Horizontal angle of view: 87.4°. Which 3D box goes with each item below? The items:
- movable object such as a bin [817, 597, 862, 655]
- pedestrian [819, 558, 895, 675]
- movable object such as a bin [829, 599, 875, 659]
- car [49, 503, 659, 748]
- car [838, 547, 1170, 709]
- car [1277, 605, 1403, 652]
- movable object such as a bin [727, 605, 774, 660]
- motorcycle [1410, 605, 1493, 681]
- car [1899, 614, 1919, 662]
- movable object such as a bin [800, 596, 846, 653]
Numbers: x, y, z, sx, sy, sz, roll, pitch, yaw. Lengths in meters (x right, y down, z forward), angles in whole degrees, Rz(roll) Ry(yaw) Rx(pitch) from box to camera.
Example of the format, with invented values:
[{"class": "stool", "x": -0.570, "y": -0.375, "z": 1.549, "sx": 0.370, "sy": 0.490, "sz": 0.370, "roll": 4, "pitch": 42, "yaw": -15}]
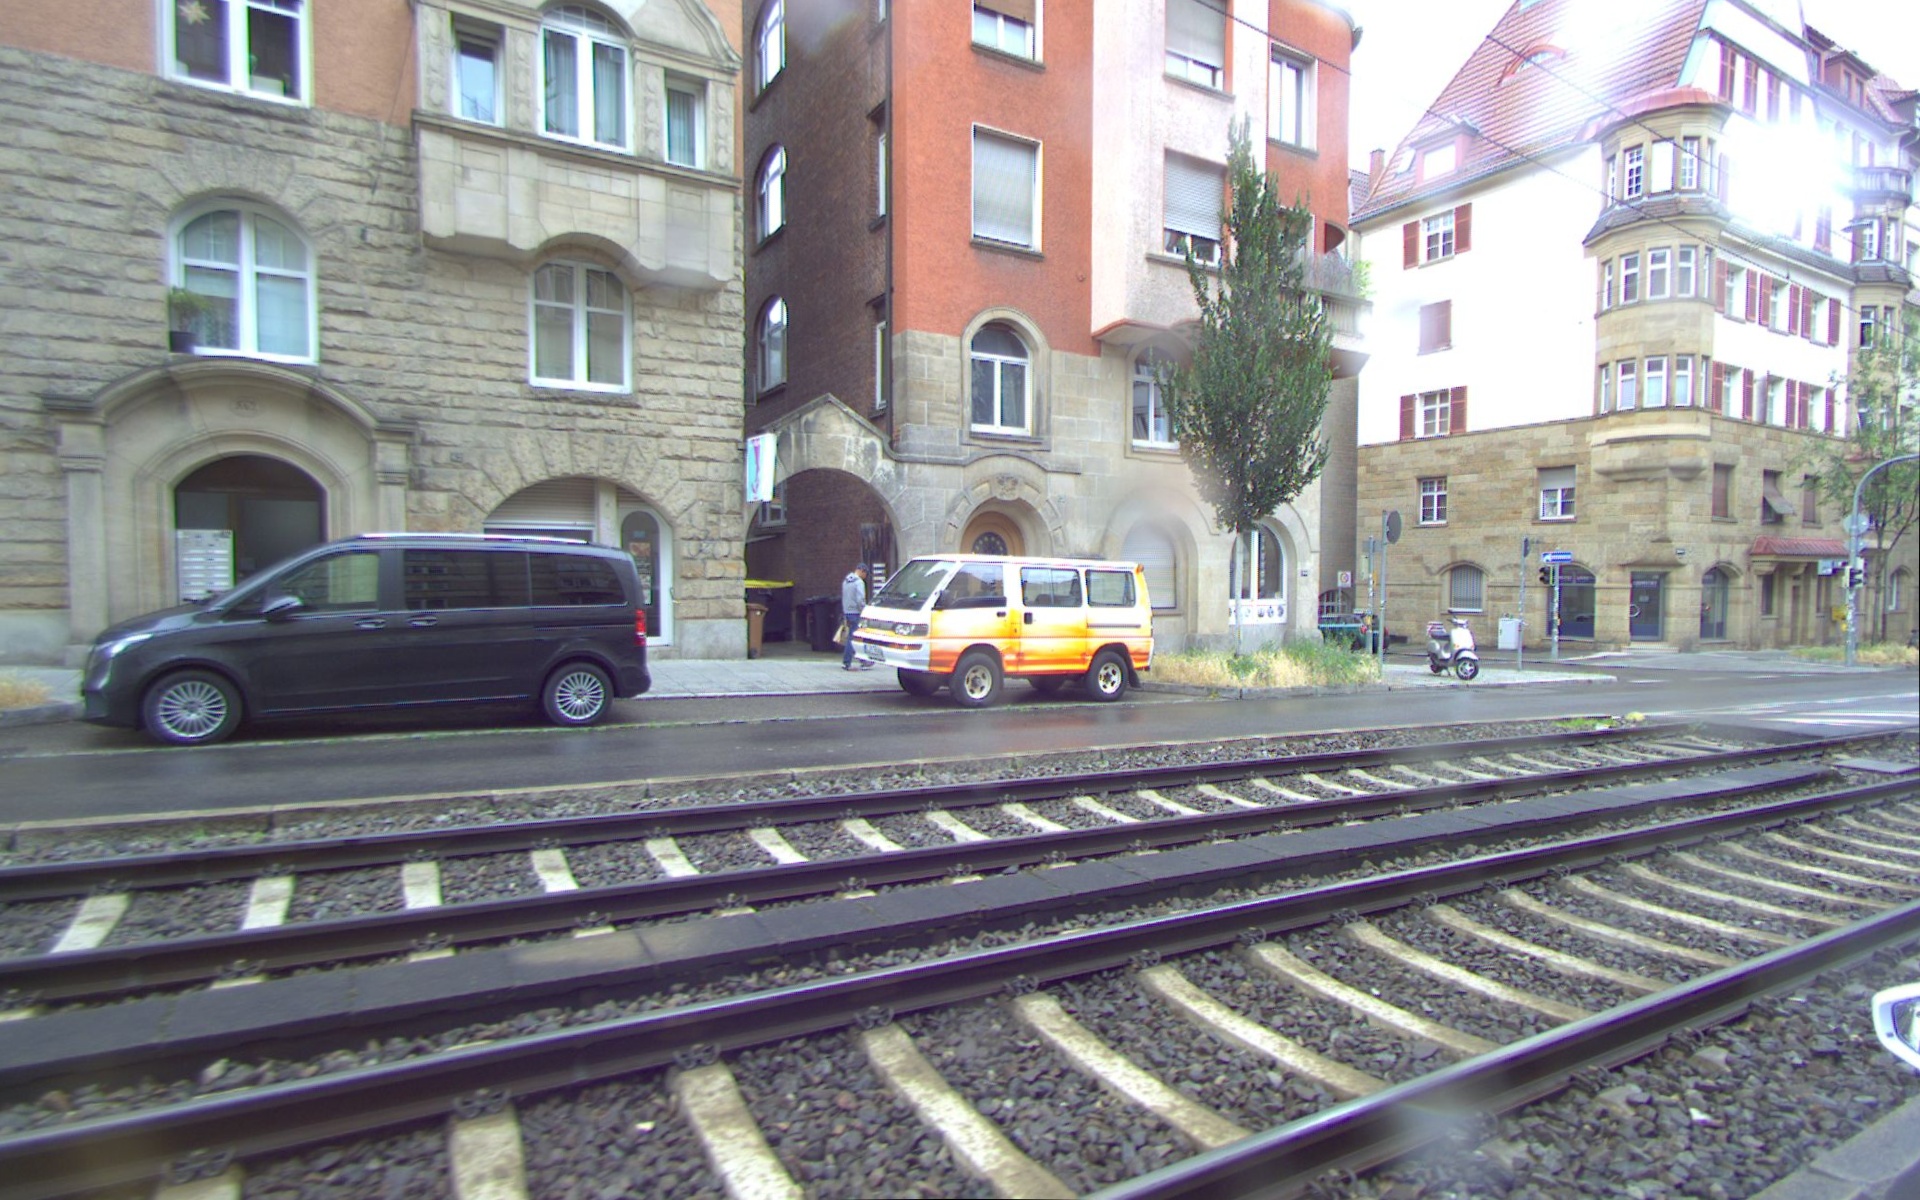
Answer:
[{"class": "movable object such as a bin", "x": -2.231, "y": 0.476, "z": 18.603, "sx": 0.648, "sy": 1.058, "sz": 0.545, "roll": 2, "pitch": 0, "yaw": -29}, {"class": "pedestrian", "x": -1.640, "y": 0.258, "z": 15.872, "sx": 0.882, "sy": 1.743, "sz": 0.713, "roll": 2, "pitch": 6, "yaw": -30}, {"class": "movable object such as a bin", "x": -1.953, "y": 0.523, "z": 18.116, "sx": 0.648, "sy": 1.058, "sz": 0.545, "roll": 2, "pitch": 0, "yaw": -29}, {"class": "car", "x": -5.687, "y": 0.263, "z": 10.082, "sx": 4.777, "sy": 1.956, "sz": 1.896, "roll": 2, "pitch": 0, "yaw": -31}, {"class": "car", "x": 0.682, "y": 0.392, "z": 14.049, "sx": 4.426, "sy": 1.956, "sz": 1.719, "roll": 2, "pitch": 0, "yaw": -32}, {"class": "car", "x": 13.978, "y": 1.032, "z": 37.152, "sx": 1.979, "sy": 1.595, "sz": 3.963, "roll": 2, "pitch": 0, "yaw": -33}, {"class": "movable object such as a bin", "x": -3.576, "y": 0.550, "z": 17.140, "sx": 0.647, "sy": 0.910, "sz": 0.544, "roll": 2, "pitch": 0, "yaw": -27}, {"class": "motorcycle", "x": 9.576, "y": 0.814, "z": 19.643, "sx": 0.752, "sy": 1.393, "sz": 1.785, "roll": 2, "pitch": 0, "yaw": 2}, {"class": "car", "x": 33.557, "y": 1.324, "z": 33.940, "sx": 4.130, "sy": 1.549, "sz": 1.680, "roll": 2, "pitch": 0, "yaw": -32}, {"class": "movable object such as a bin", "x": -2.602, "y": 0.461, "z": 19.116, "sx": 0.648, "sy": 1.058, "sz": 0.676, "roll": 2, "pitch": 0, "yaw": -29}]
